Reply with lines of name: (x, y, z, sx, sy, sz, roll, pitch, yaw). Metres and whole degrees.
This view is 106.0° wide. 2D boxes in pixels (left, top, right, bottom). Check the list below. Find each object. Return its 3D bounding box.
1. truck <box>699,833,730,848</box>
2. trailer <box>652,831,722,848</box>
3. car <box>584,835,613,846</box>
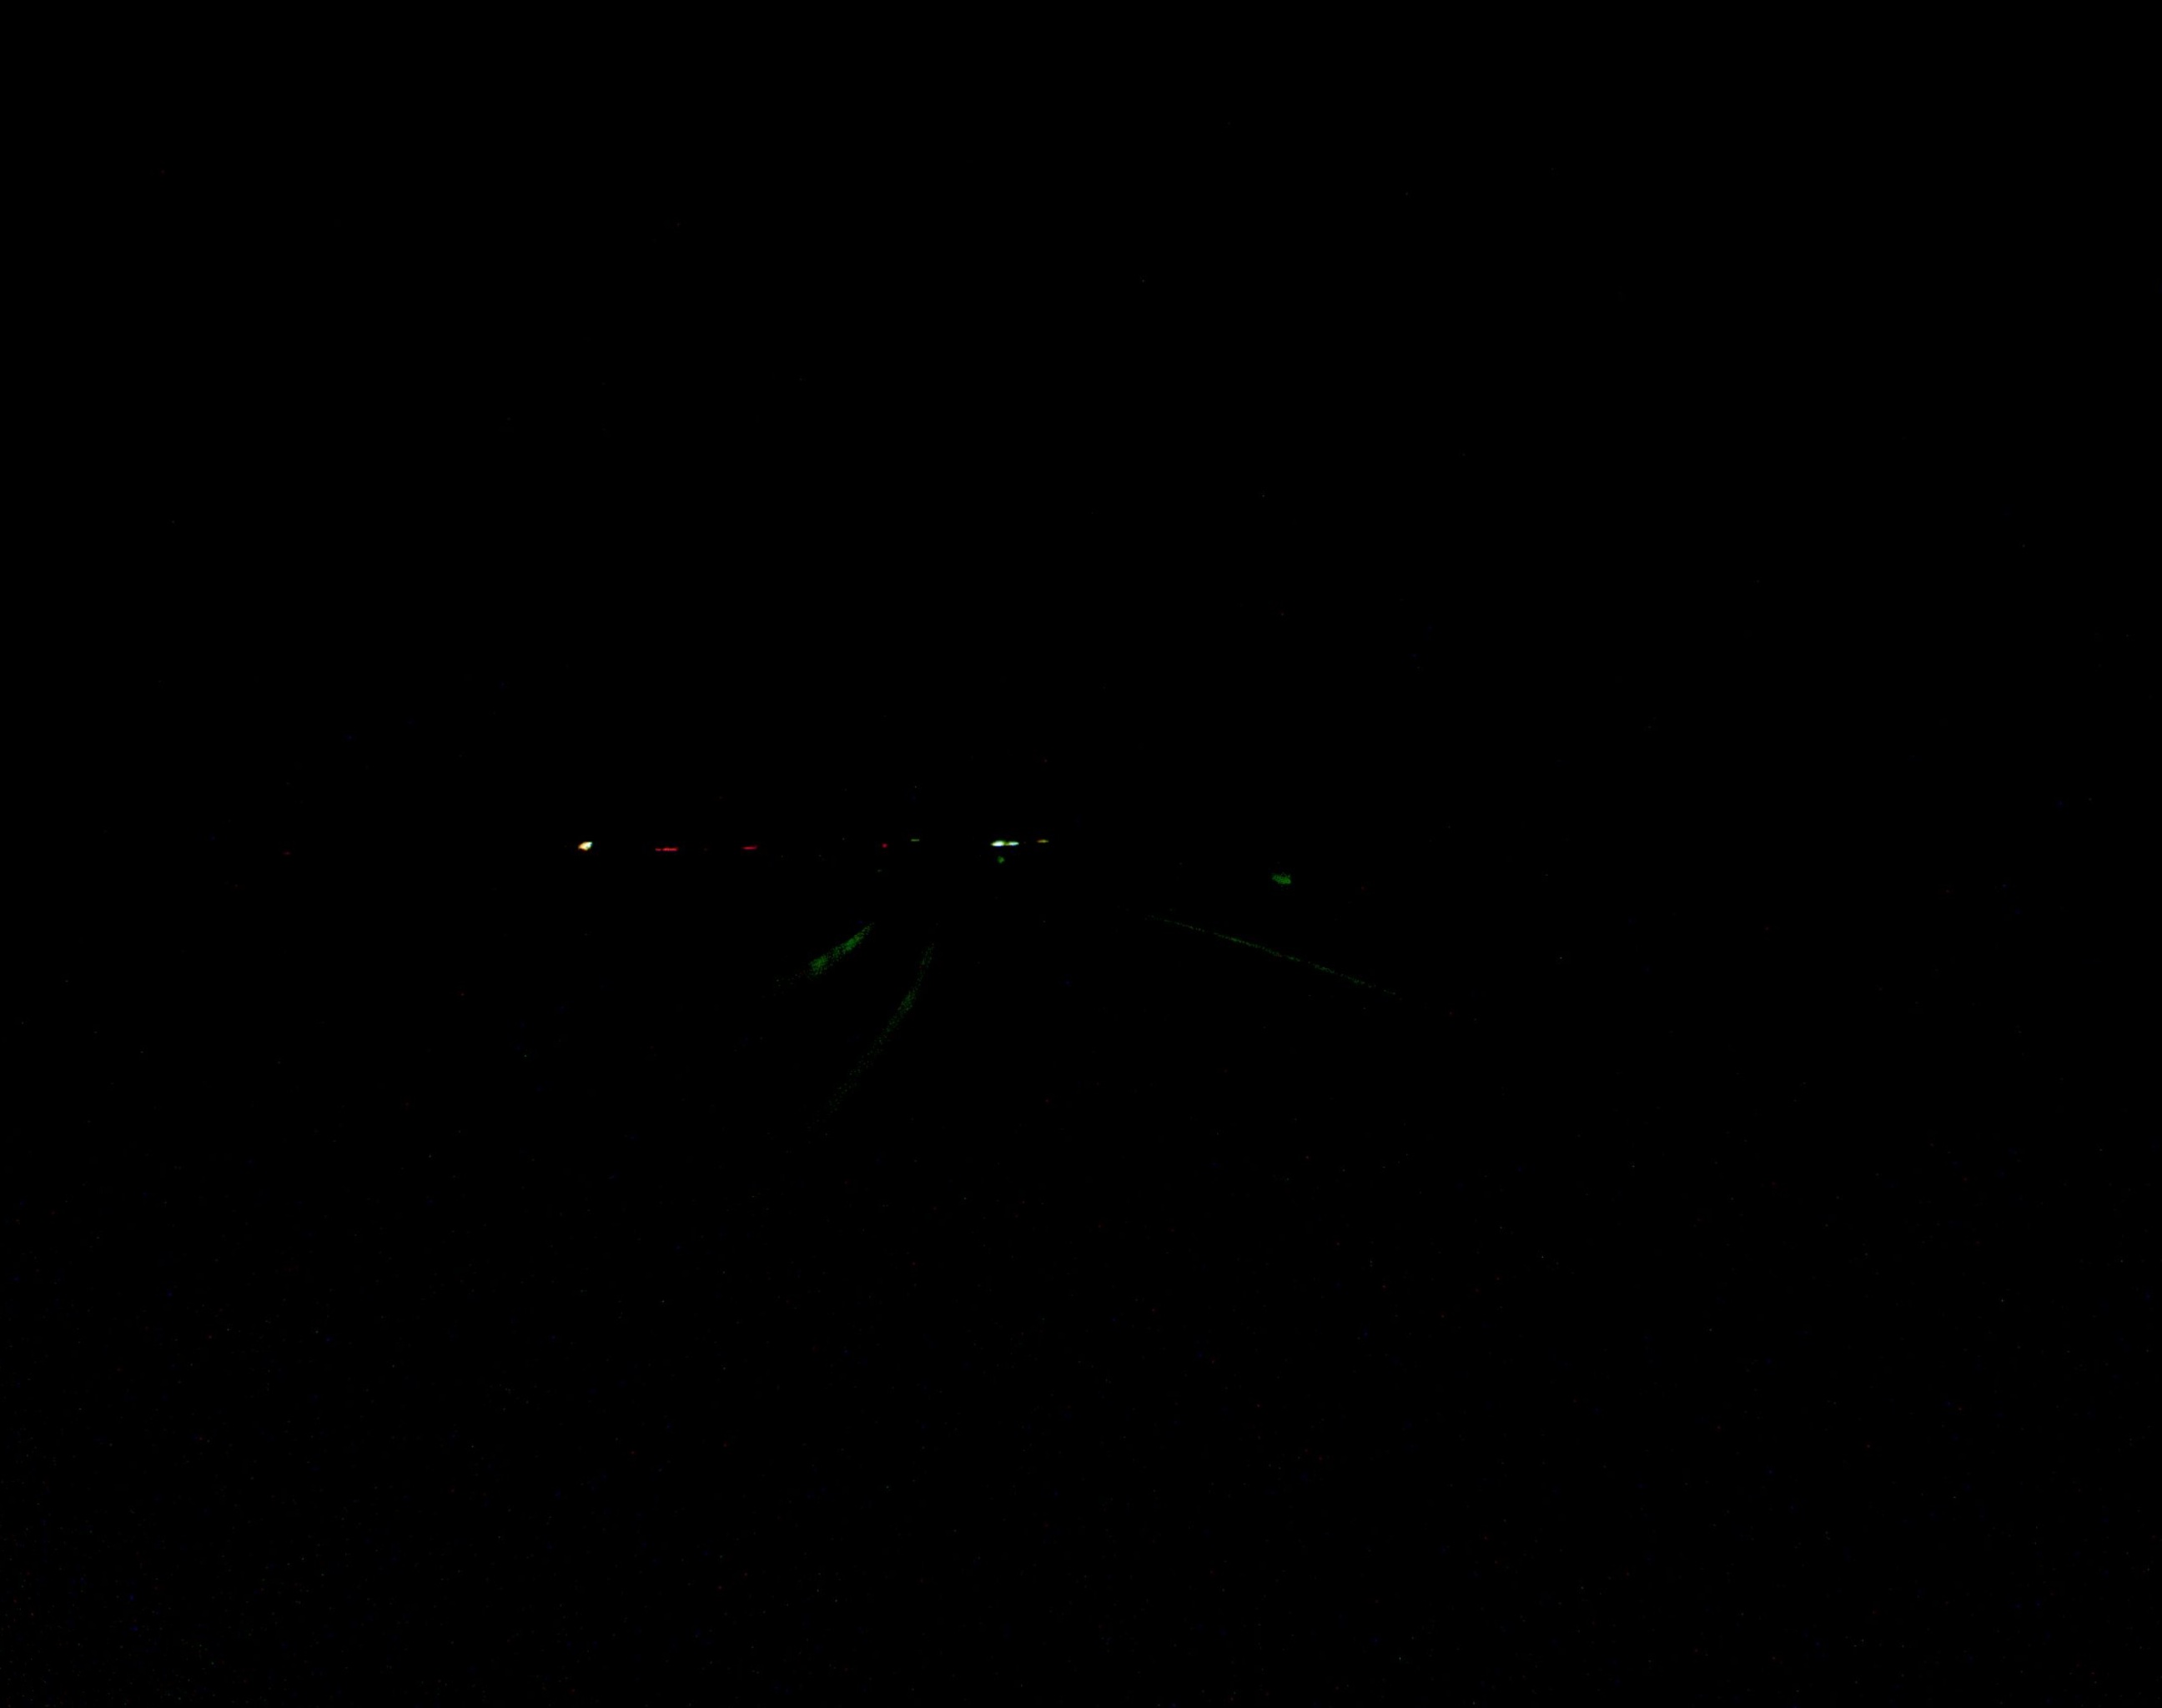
truck: (-67.435, -2.514, 149.860, 2.655, 2.690, 4.780, 2, 1, 19)
trailer: (-69.468, -2.495, 144.025, 2.665, 2.699, 12.920, 2, 1, 19)
car: (-88.513, -2.488, 149.378, 1.979, 2.013, 4.488, 2, 1, 15)
